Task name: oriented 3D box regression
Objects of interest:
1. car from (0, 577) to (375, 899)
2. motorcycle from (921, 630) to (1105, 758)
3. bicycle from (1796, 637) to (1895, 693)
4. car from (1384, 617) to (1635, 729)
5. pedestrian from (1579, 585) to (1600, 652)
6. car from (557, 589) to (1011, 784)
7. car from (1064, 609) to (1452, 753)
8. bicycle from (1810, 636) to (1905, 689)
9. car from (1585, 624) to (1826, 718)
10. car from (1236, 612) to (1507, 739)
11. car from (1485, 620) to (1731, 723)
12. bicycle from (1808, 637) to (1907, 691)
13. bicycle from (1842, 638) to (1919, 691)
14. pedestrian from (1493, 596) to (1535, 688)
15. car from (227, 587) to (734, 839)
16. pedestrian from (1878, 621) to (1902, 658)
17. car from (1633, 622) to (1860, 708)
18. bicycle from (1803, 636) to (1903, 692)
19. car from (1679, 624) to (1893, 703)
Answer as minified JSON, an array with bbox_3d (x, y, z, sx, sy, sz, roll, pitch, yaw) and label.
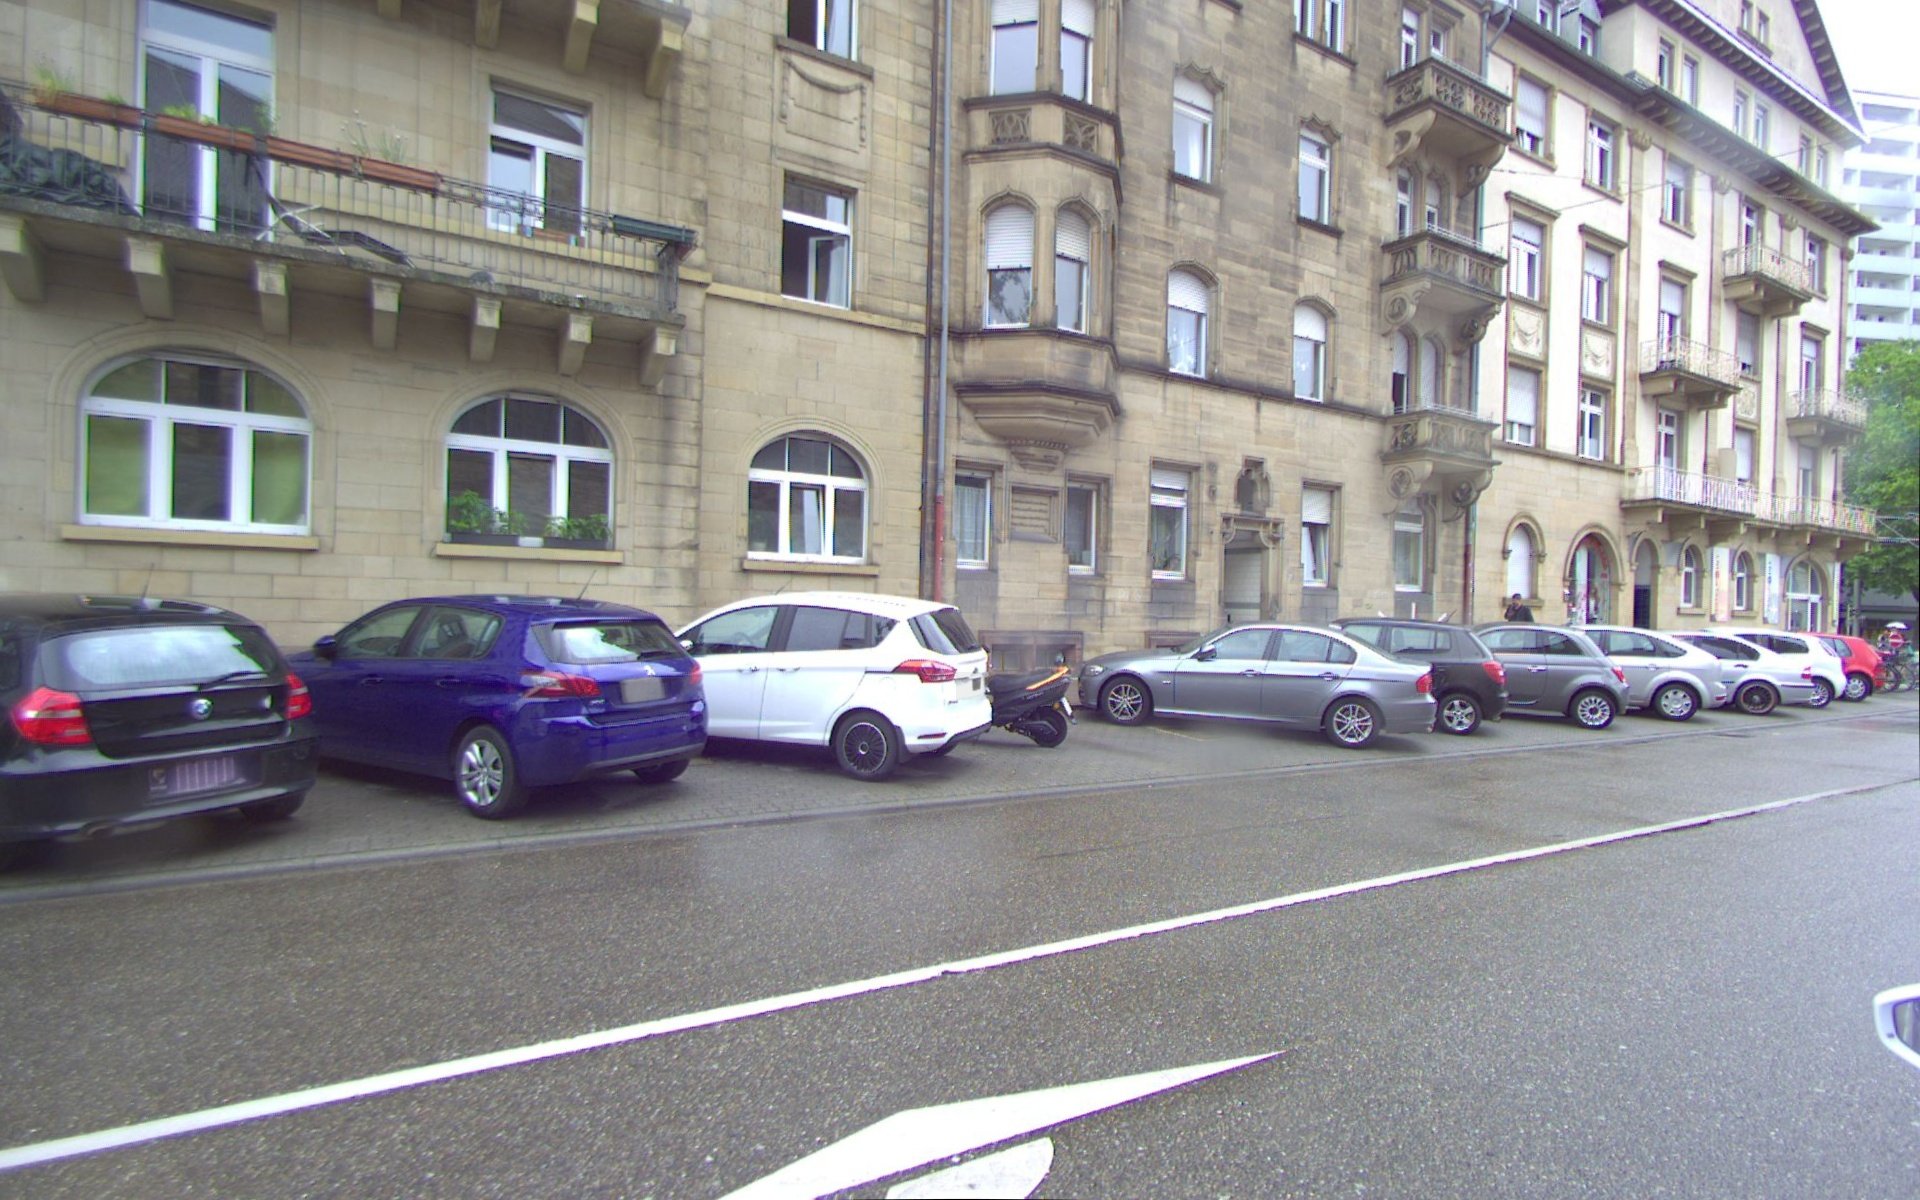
[{"bbox_3d":[-5.912,0.659,6.488,3.969,1.532,1.797,1,-1,27],"label":"car"},{"bbox_3d":[0.567,0.980,10.899,1.836,1.177,0.634,3,0,23],"label":"motorcycle"},{"bbox_3d":[21.758,1.571,24.716,0.516,1.283,1.754,1,-1,-31],"label":"bicycle"},{"bbox_3d":[8.703,1.098,16.219,3.336,1.578,1.652,1,0,21],"label":"car"},{"bbox_3d":[17.278,0.510,27.577,0.343,1.846,0.364,2,-1,-33],"label":"pedestrian"},{"bbox_3d":[-1.670,0.728,9.796,3.964,1.576,1.799,1,-1,19],"label":"car"},{"bbox_3d":[3.712,0.945,12.917,4.457,1.565,1.689,1,-1,17],"label":"car"},{"bbox_3d":[23.449,1.612,26.260,0.601,1.283,1.754,2,-1,-31],"label":"bicycle"},{"bbox_3d":[14.129,1.296,19.268,3.336,1.578,1.705,1,0,21],"label":"car"},{"bbox_3d":[5.951,1.028,14.804,3.484,1.619,1.605,1,0,21],"label":"car"},{"bbox_3d":[11.257,1.190,17.724,3.336,1.578,1.705,1,0,21],"label":"car"},{"bbox_3d":[22.727,1.602,25.472,0.493,1.283,1.801,1,-1,-31],"label":"bicycle"},{"bbox_3d":[24.383,1.678,26.371,0.601,1.283,1.754,2,-1,-31],"label":"bicycle"},{"bbox_3d":[12.584,0.942,22.823,0.647,2.040,0.565,1,0,-30],"label":"pedestrian"},{"bbox_3d":[-3.953,0.721,8.155,3.972,1.594,1.795,0,-1,31],"label":"car"},{"bbox_3d":[47.075,1.978,50.847,0.683,1.850,0.618,1,-1,-17],"label":"pedestrian"},{"bbox_3d":[16.242,1.291,20.947,3.336,1.578,1.705,1,0,21],"label":"car"},{"bbox_3d":[22.212,1.576,25.011,0.493,1.283,1.801,1,-1,-31],"label":"bicycle"},{"bbox_3d":[18.563,1.389,22.755,3.336,1.578,1.705,1,0,21],"label":"car"}]
